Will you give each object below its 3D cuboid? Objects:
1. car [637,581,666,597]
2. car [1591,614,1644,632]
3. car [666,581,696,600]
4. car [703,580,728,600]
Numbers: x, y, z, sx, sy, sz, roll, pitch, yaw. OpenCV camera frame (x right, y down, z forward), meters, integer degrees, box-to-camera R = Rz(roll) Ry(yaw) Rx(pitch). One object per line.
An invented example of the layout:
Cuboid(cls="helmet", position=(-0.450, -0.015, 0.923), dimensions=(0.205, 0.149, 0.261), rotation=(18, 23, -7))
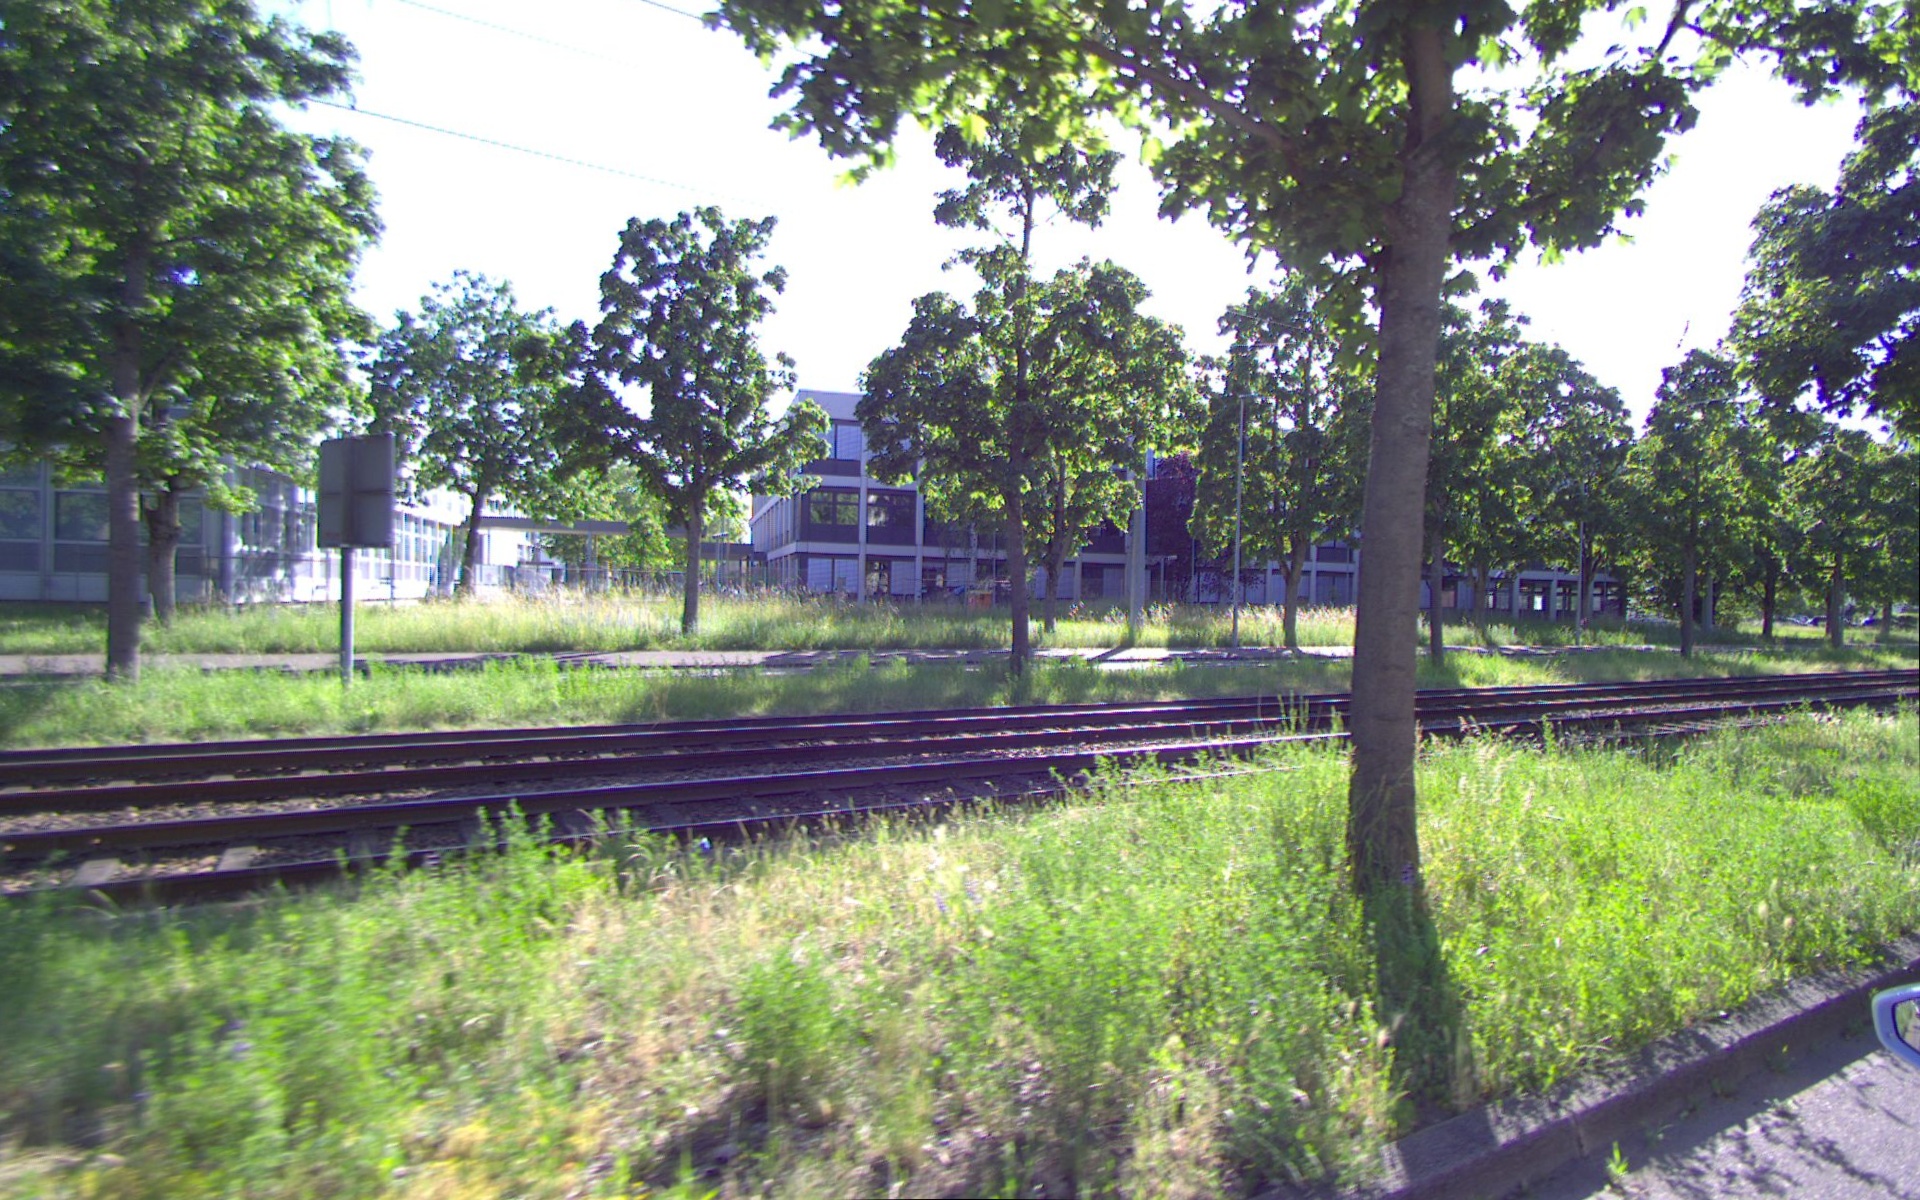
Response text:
Cuboid(cls="car", position=(-25.329, -0.934, 82.564), dimensions=(1.815, 1.247, 4.538), rotation=(2, 1, -12))
Cuboid(cls="car", position=(69.228, 2.395, 105.778), dimensions=(4.347, 1.662, 1.989), rotation=(1, 0, 24))
Cuboid(cls="car", position=(-20.192, -0.728, 72.856), dimensions=(1.815, 1.284, 4.538), rotation=(2, 1, -12))
Cuboid(cls="car", position=(-20.347, -0.853, 83.802), dimensions=(1.815, 1.513, 4.539), rotation=(2, 1, -12))
